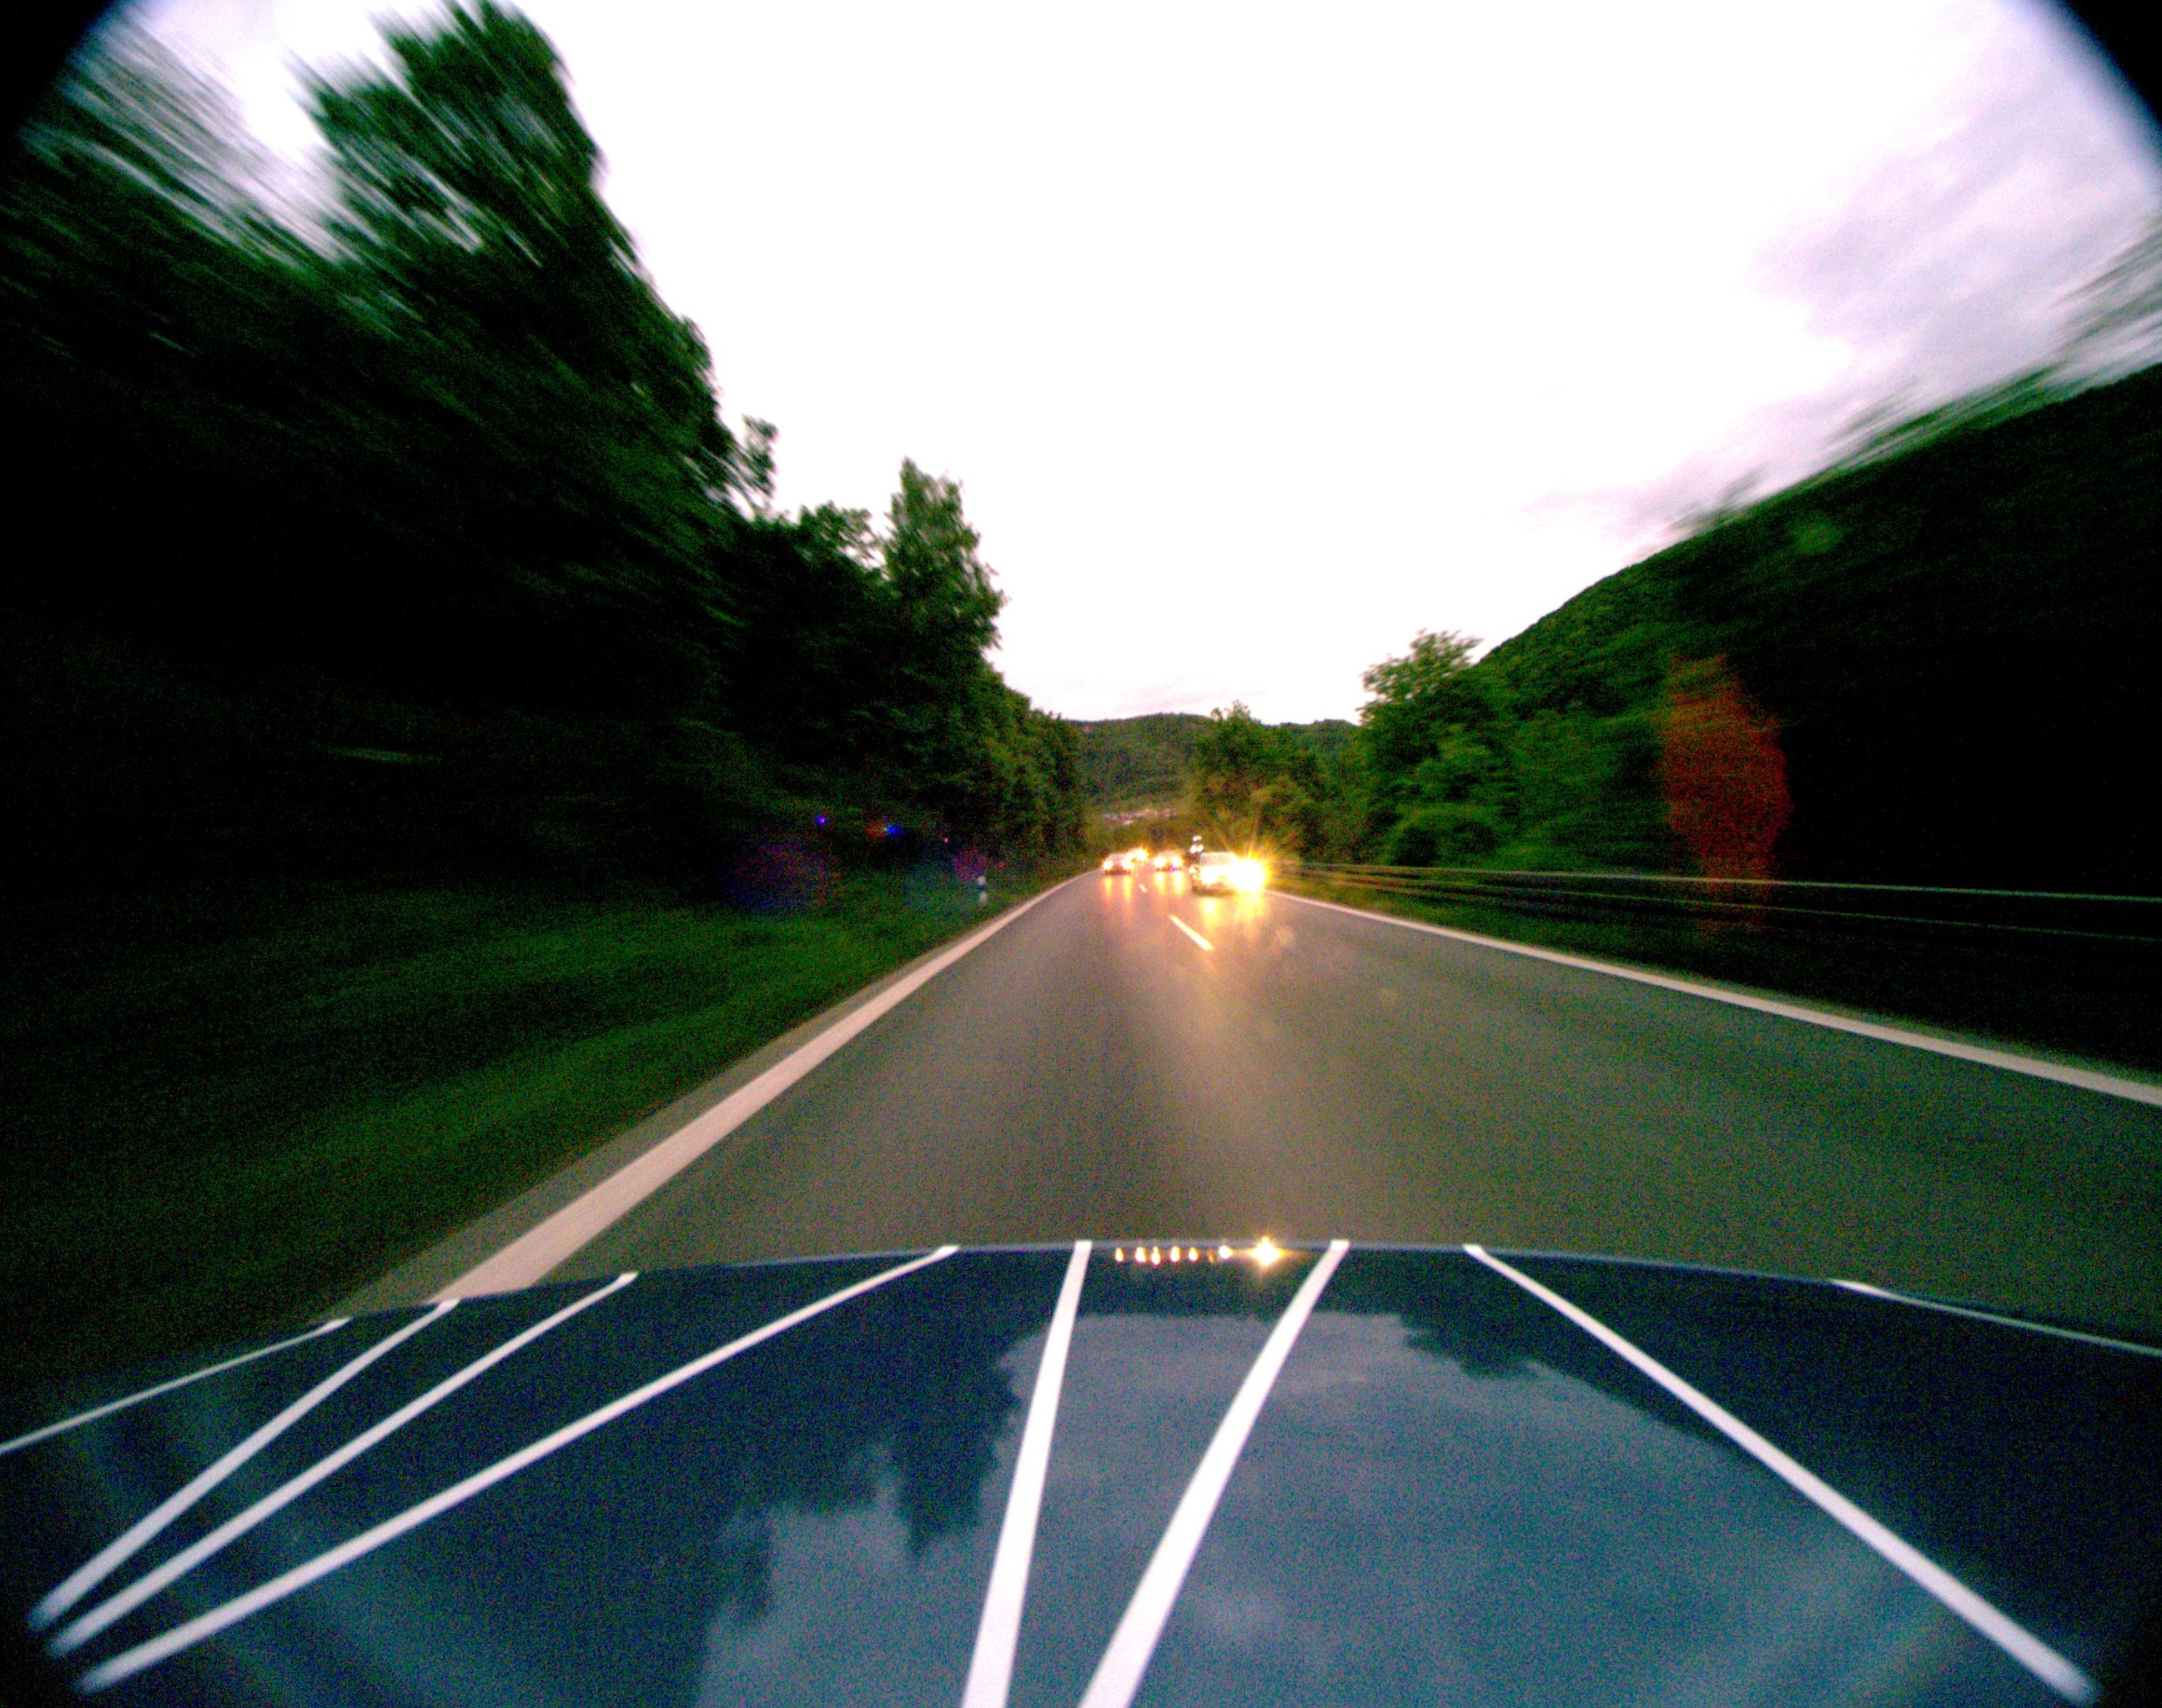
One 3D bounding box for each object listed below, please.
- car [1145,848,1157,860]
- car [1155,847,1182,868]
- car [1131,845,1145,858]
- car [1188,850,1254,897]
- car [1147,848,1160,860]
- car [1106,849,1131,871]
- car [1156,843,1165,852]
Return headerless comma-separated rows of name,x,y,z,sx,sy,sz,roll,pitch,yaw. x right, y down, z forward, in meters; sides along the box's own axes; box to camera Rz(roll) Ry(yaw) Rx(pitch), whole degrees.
car,14.399,0.018,156.609,1.998,2.003,3.997,-5,4,1
car,6.706,0.247,58.387,1.690,1.425,3.669,-3,0,2
car,7.785,-0.331,103.014,1.737,1.641,3.669,-3,0,5
car,4.856,0.628,26.821,1.690,1.460,3.768,-3,0,2
car,11.395,-0.064,119.011,1.655,1.484,3.863,-5,4,10
car,2.704,0.413,54.821,1.690,1.443,3.669,-3,0,3
car,18.479,-1.478,176.959,1.587,1.667,3.636,-5,4,3
